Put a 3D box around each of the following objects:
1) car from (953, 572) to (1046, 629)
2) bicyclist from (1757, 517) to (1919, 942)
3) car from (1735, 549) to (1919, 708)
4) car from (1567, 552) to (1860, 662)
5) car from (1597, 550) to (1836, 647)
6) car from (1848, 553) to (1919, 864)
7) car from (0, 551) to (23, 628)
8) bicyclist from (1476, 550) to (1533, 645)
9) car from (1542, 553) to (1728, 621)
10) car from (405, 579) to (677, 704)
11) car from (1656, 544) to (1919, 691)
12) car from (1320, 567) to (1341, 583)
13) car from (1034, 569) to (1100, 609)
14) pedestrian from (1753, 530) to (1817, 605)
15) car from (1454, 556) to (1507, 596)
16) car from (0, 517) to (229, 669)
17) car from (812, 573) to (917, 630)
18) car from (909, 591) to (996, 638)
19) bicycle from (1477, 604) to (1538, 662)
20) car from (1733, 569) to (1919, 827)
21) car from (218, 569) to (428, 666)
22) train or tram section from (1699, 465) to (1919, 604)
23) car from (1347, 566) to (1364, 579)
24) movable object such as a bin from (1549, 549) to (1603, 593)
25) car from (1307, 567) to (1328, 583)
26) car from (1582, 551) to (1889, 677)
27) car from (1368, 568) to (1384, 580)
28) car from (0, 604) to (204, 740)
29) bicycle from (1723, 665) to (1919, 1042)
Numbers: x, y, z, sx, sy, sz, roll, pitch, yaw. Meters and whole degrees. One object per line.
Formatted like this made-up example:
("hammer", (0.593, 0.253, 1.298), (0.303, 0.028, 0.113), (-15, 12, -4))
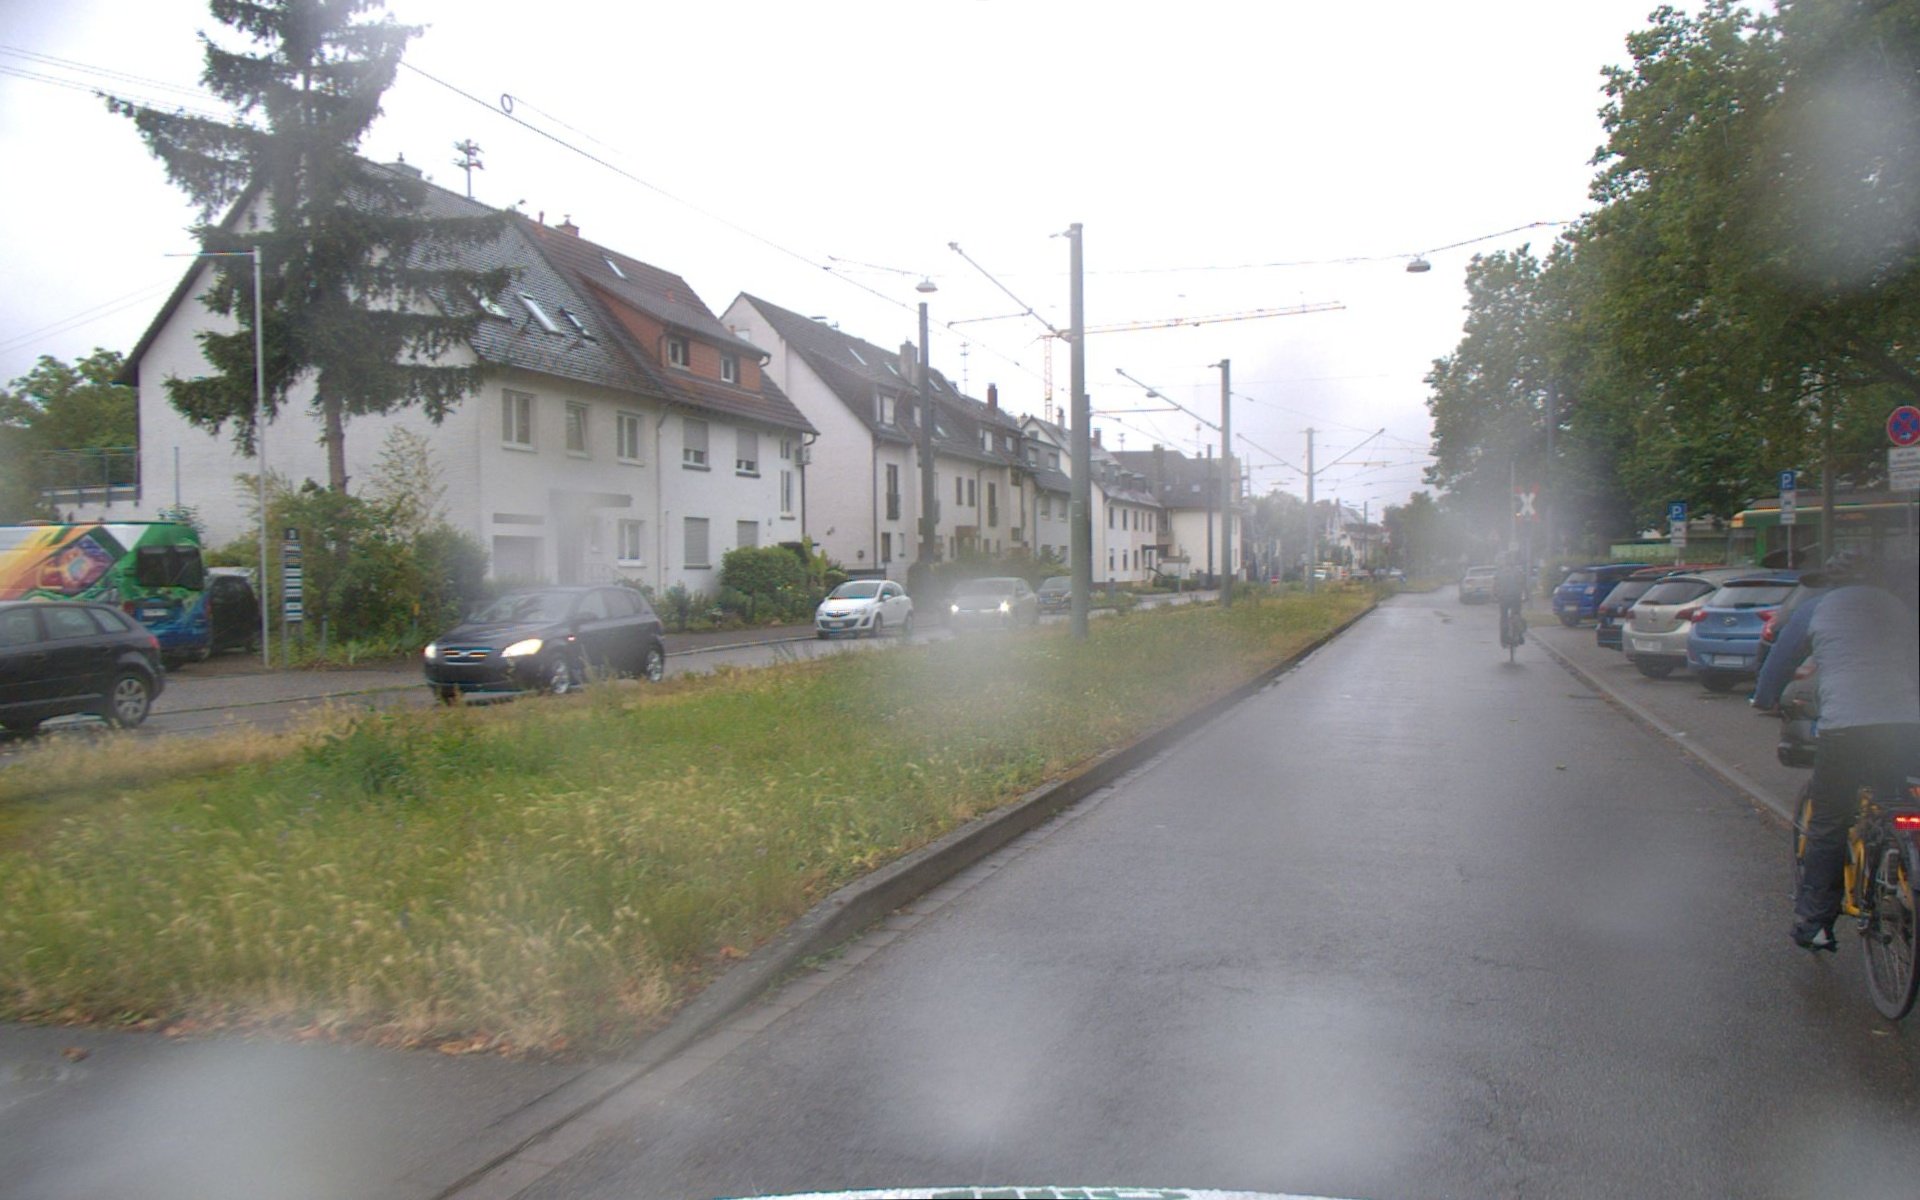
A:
("car", (1.118, 0.041, 44.941), (1.567, 1.448, 3.822), (-1, -1, 17))
("bicyclist", (3.528, 0.444, 6.271), (0.735, 1.511, 0.847), (-1, 2, 13))
("car", (10.287, 0.220, 17.569), (3.454, 1.532, 1.744), (-3, 0, -20))
("car", (12.089, 0.082, 26.600), (4.043, 1.505, 1.858), (-3, 1, -16))
("car", (13.372, -0.048, 29.301), (3.522, 1.505, 1.634), (-3, 1, -10))
("car", (6.721, 0.490, 8.060), (4.093, 1.502, 1.798), (-1, 1, -14))
("car", (-20.959, -0.176, 33.418), (1.823, 1.608, 4.395), (-2, 1, -5))
("bicyclist", (9.350, -0.043, 28.409), (0.813, 1.585, 0.915), (-1, 0, 13))
("car", (16.815, -0.351, 41.255), (3.921, 1.509, 1.992), (-2, 2, -15))
("car", (-5.496, 0.538, 22.234), (1.700, 1.512, 4.002), (-1, -1, 17))
("car", (10.922, 0.165, 20.731), (3.936, 1.526, 1.811), (-4, 0, -24))
("car", (43.002, -2.857, 191.960), (1.951, 1.735, 4.002), (-1, -1, 17))
("car", (4.360, -0.419, 66.875), (1.837, 1.530, 4.136), (-1, -1, 16))
("pedestrian", (19.814, -0.784, 39.747), (1.022, 1.744, 1.081), (-2, 1, 7))
("car", (22.321, -1.002, 71.037), (1.913, 1.580, 4.003), (-3, 0, 15))
("car", (-15.385, -0.067, 28.330), (5.023, 2.448, 2.153), (-1, -1, 16))
("car", (-2.485, 0.069, 43.995), (1.567, 1.448, 3.946), (-1, -1, 16))
("car", (-0.204, 0.482, 54.132), (1.567, 1.448, 4.669), (-1, -1, 16))
("bicycle", (9.342, 0.554, 28.293), (0.803, 0.928, 1.987), (-2, 0, 13))
("car", (7.691, 0.532, 11.033), (4.456, 1.502, 1.799), (-1, 1, -13))
("car", (-12.718, 0.304, 33.315), (1.951, 1.591, 3.899), (0, 4, 16))
("train or tram section", (26.632, -1.726, 43.676), (2.674, 3.652, 14.608), (0, 0, -27))
("car", (51.594, -3.546, 215.746), (1.951, 1.571, 4.002), (-1, -1, 17))
("movable object such as a bin", (25.116, -1.170, 67.488), (1.520, 1.733, 1.498), (-2, 1, -7))
("car", (40.367, -2.818, 186.626), (1.951, 1.571, 4.002), (-1, -1, 17))
("car", (11.086, 0.179, 23.649), (3.940, 1.580, 1.944), (-2, 0, -27))
("car", (60.398, -3.781, 240.238), (1.951, 1.571, 4.002), (-1, -1, 17))
("car", (-10.234, 0.741, 17.386), (1.681, 1.362, 4.391), (-1, -1, 17))
("bicycle", (3.543, 0.876, 6.359), (0.736, 1.091, 1.929), (-1, 2, 13))
